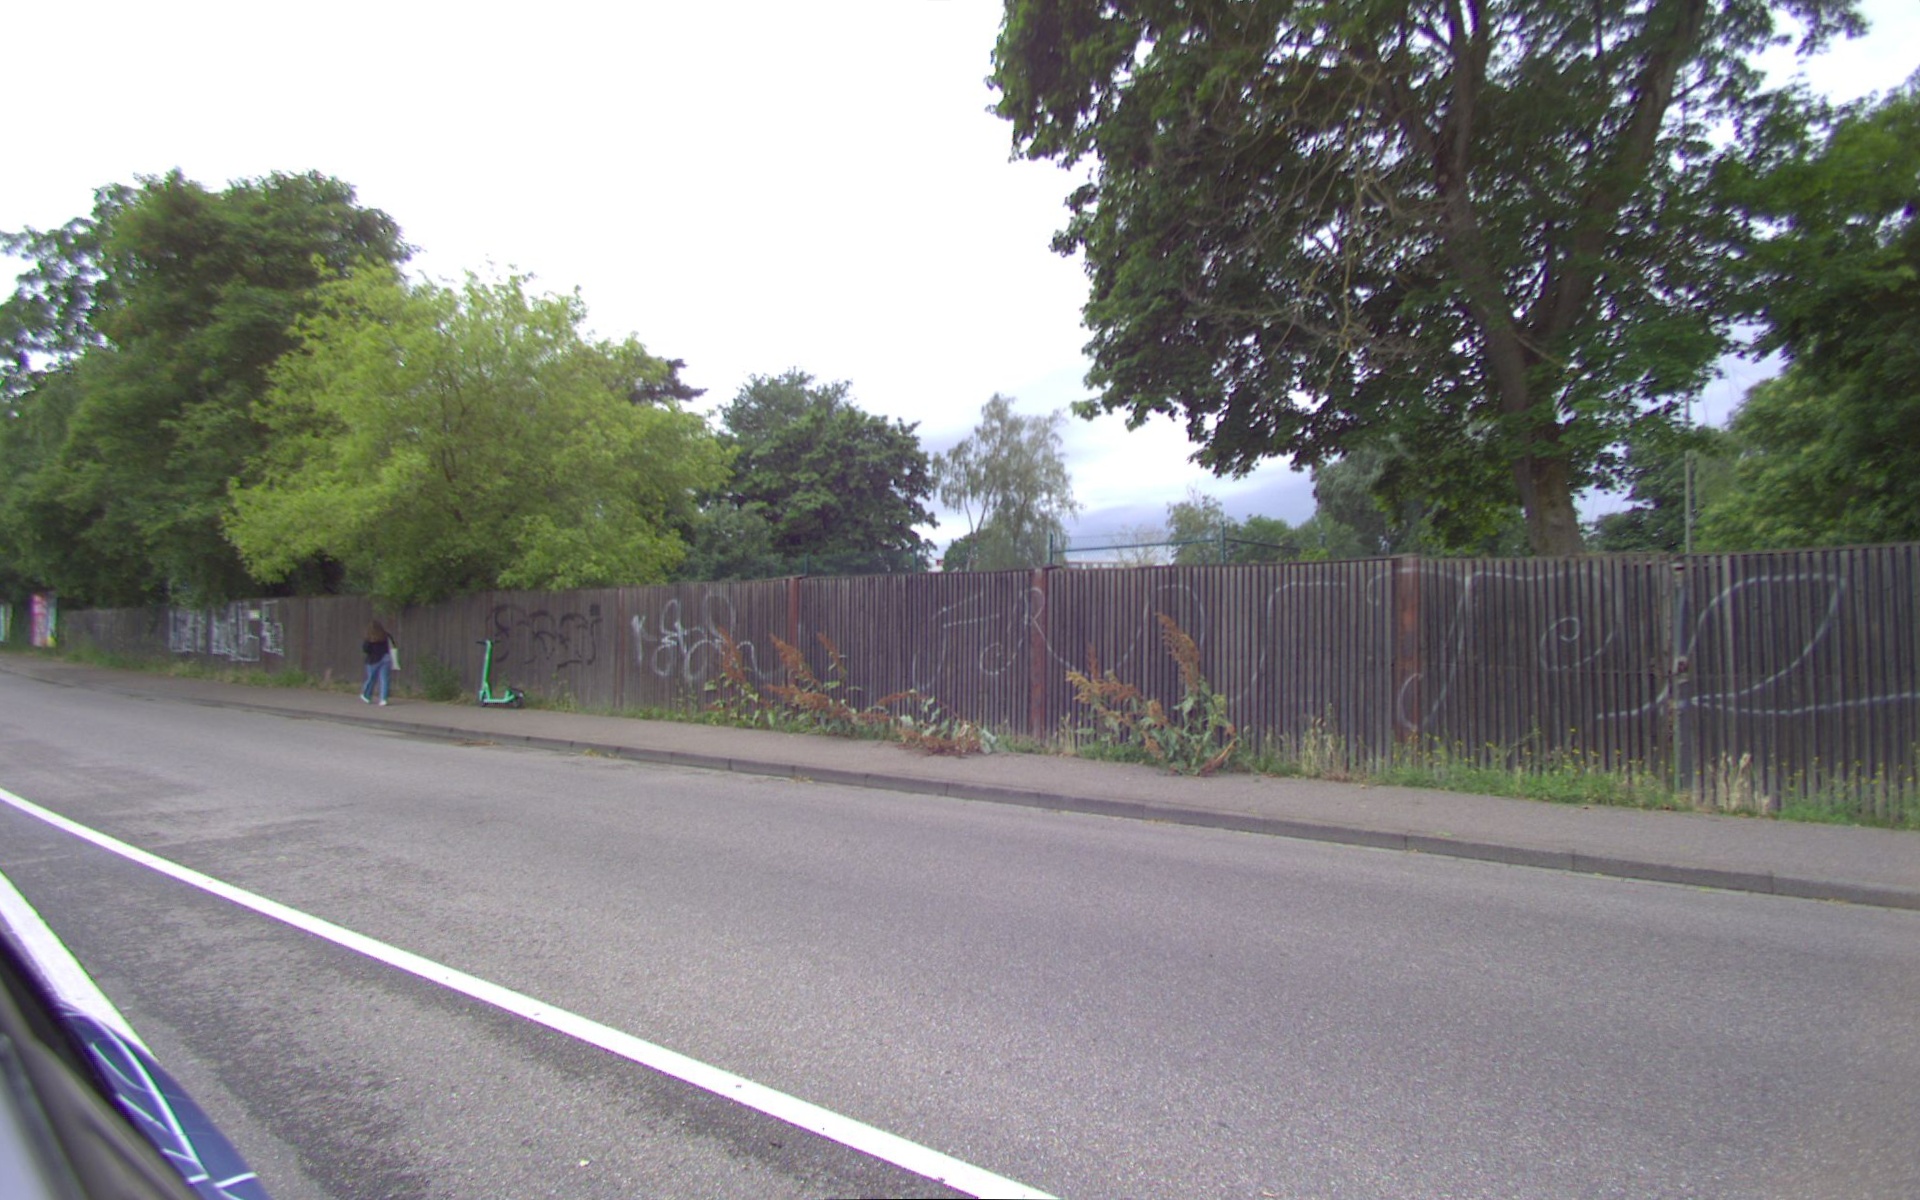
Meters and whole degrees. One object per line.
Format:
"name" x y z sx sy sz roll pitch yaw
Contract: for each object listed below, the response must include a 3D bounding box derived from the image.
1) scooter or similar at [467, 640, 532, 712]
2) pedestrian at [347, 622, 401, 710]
"scooter or similar" -7.815 1.271 17.169 1.301 1.179 0.419 -1 -2 36
"pedestrian" -10.550 1.166 18.223 0.723 1.541 0.606 -2 -2 37
